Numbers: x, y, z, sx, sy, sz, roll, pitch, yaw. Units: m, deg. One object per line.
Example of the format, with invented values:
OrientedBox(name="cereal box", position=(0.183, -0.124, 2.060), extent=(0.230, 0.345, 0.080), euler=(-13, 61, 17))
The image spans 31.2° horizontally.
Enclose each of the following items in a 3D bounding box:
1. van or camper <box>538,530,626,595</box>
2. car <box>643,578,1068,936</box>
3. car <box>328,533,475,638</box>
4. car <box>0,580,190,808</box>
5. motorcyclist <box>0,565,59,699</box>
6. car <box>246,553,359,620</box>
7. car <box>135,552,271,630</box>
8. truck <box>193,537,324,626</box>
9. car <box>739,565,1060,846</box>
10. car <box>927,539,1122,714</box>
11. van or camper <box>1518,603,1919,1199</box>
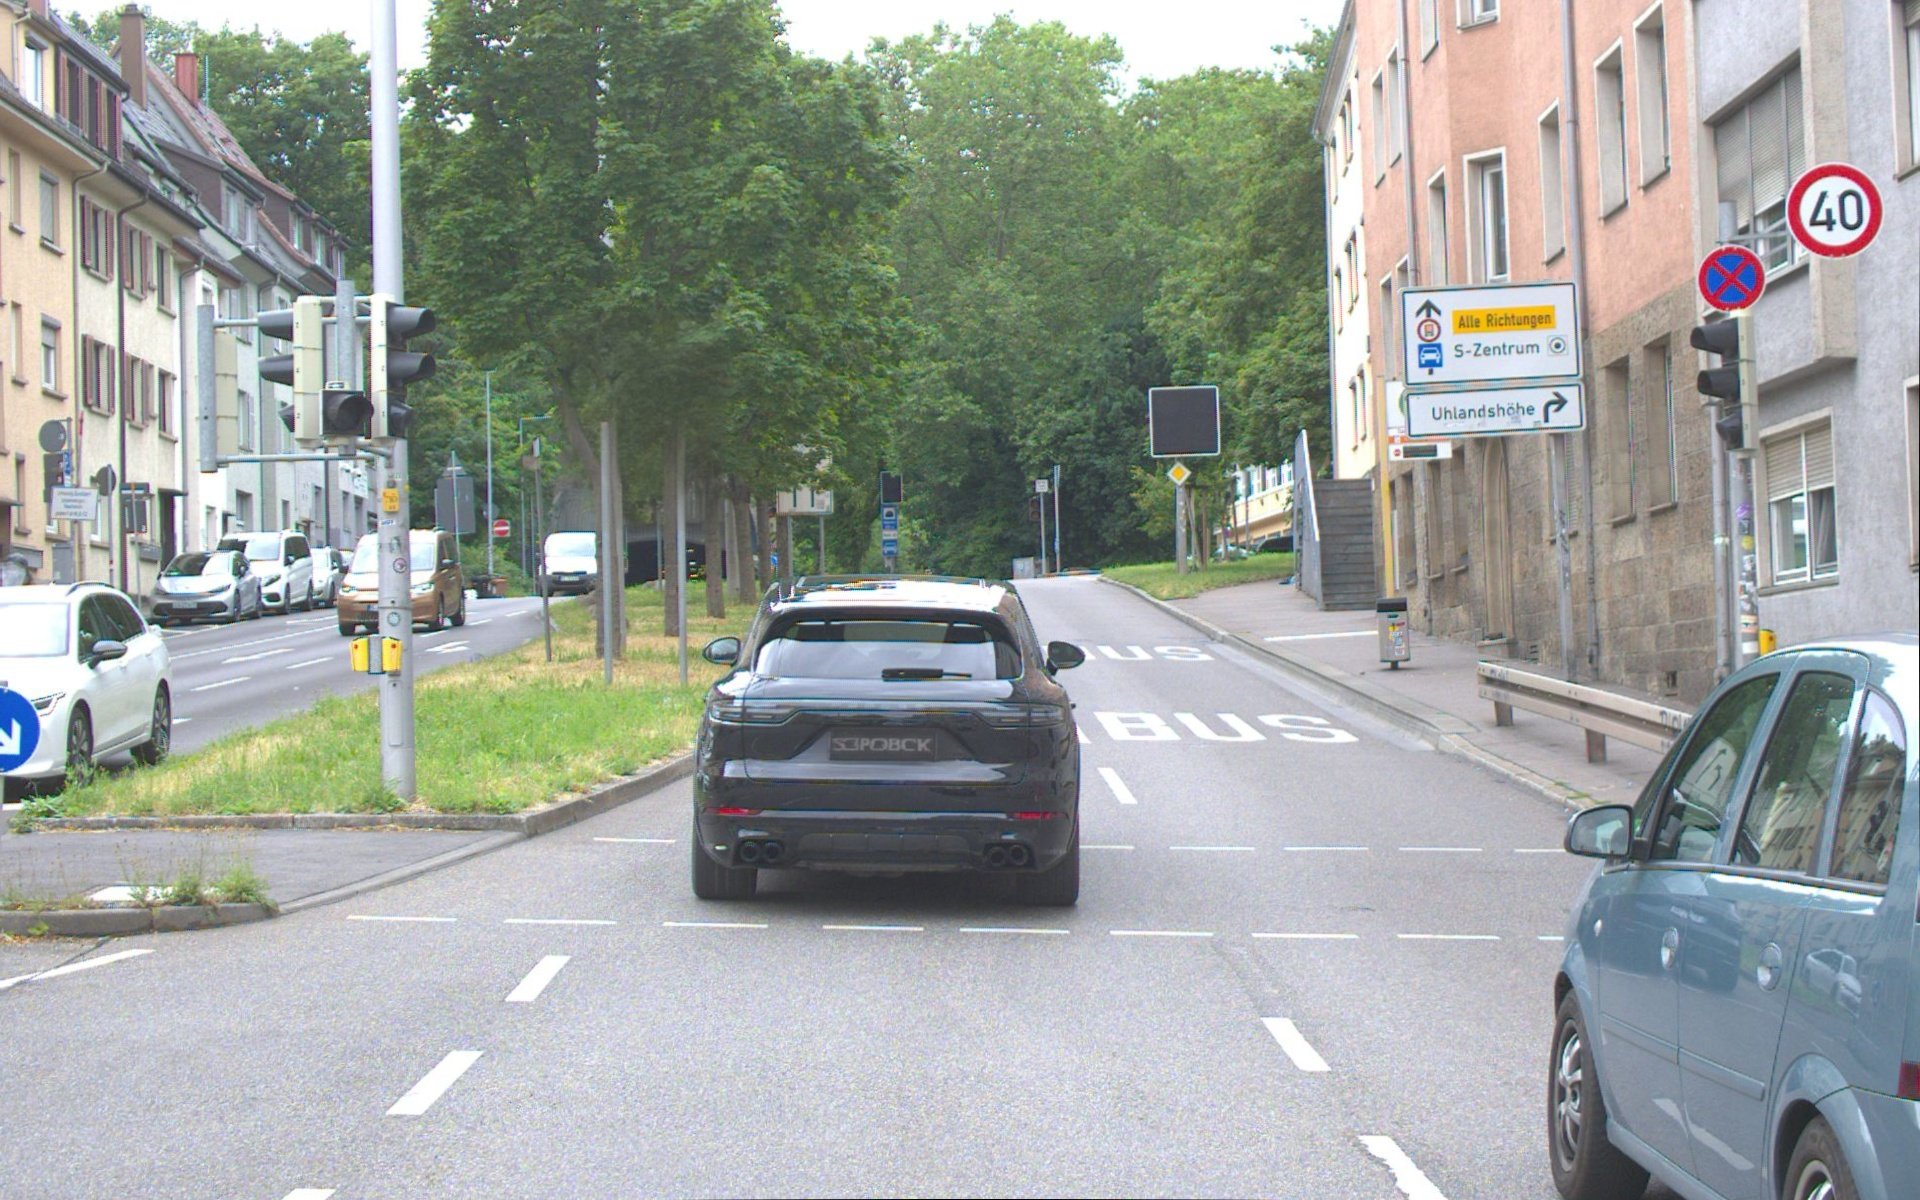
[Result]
OrientedBox(name="van or camper", position=(-10.515, -1.025, 95.926), extent=(1.908, 1.755, 4.654), euler=(1, 0, 0))
OrientedBox(name="car", position=(-0.466, 0.750, 18.646), extent=(1.993, 1.647, 4.000), euler=(-2, 0, 1))
OrientedBox(name="car", position=(-10.008, -0.249, 61.880), extent=(1.879, 1.810, 4.351), euler=(1, 0, 1))
OrientedBox(name="car", position=(-7.052, 0.639, 25.346), extent=(1.745, 1.462, 4.586), euler=(-2, 1, -1))
OrientedBox(name="motorcyclist", position=(-10.450, 0.357, 38.185), extent=(0.672, 1.470, 0.662), euler=(-1, 0, 1))
OrientedBox(name="car", position=(-16.214, -0.354, 84.965), extent=(1.993, 1.547, 4.382), euler=(-2, 1, -1))
OrientedBox(name="car", position=(-16.054, -0.217, 73.091), extent=(1.993, 1.547, 4.158), euler=(-2, 1, -1))
OrientedBox(name="truck", position=(-16.205, -0.454, 79.634), extent=(1.993, 1.913, 5.348), euler=(-2, 1, -1))
OrientedBox(name="car", position=(-0.341, 0.637, 23.419), extent=(1.934, 1.647, 4.000), euler=(-2, 1, 1))
OrientedBox(name="car", position=(0.696, 0.237, 37.228), extent=(1.934, 1.647, 4.000), euler=(-2, 2, 1))
OrientedBox(name="van or camper", position=(2.475, 0.825, 7.936), extent=(1.735, 1.572, 3.646), euler=(0, -1, -1))
